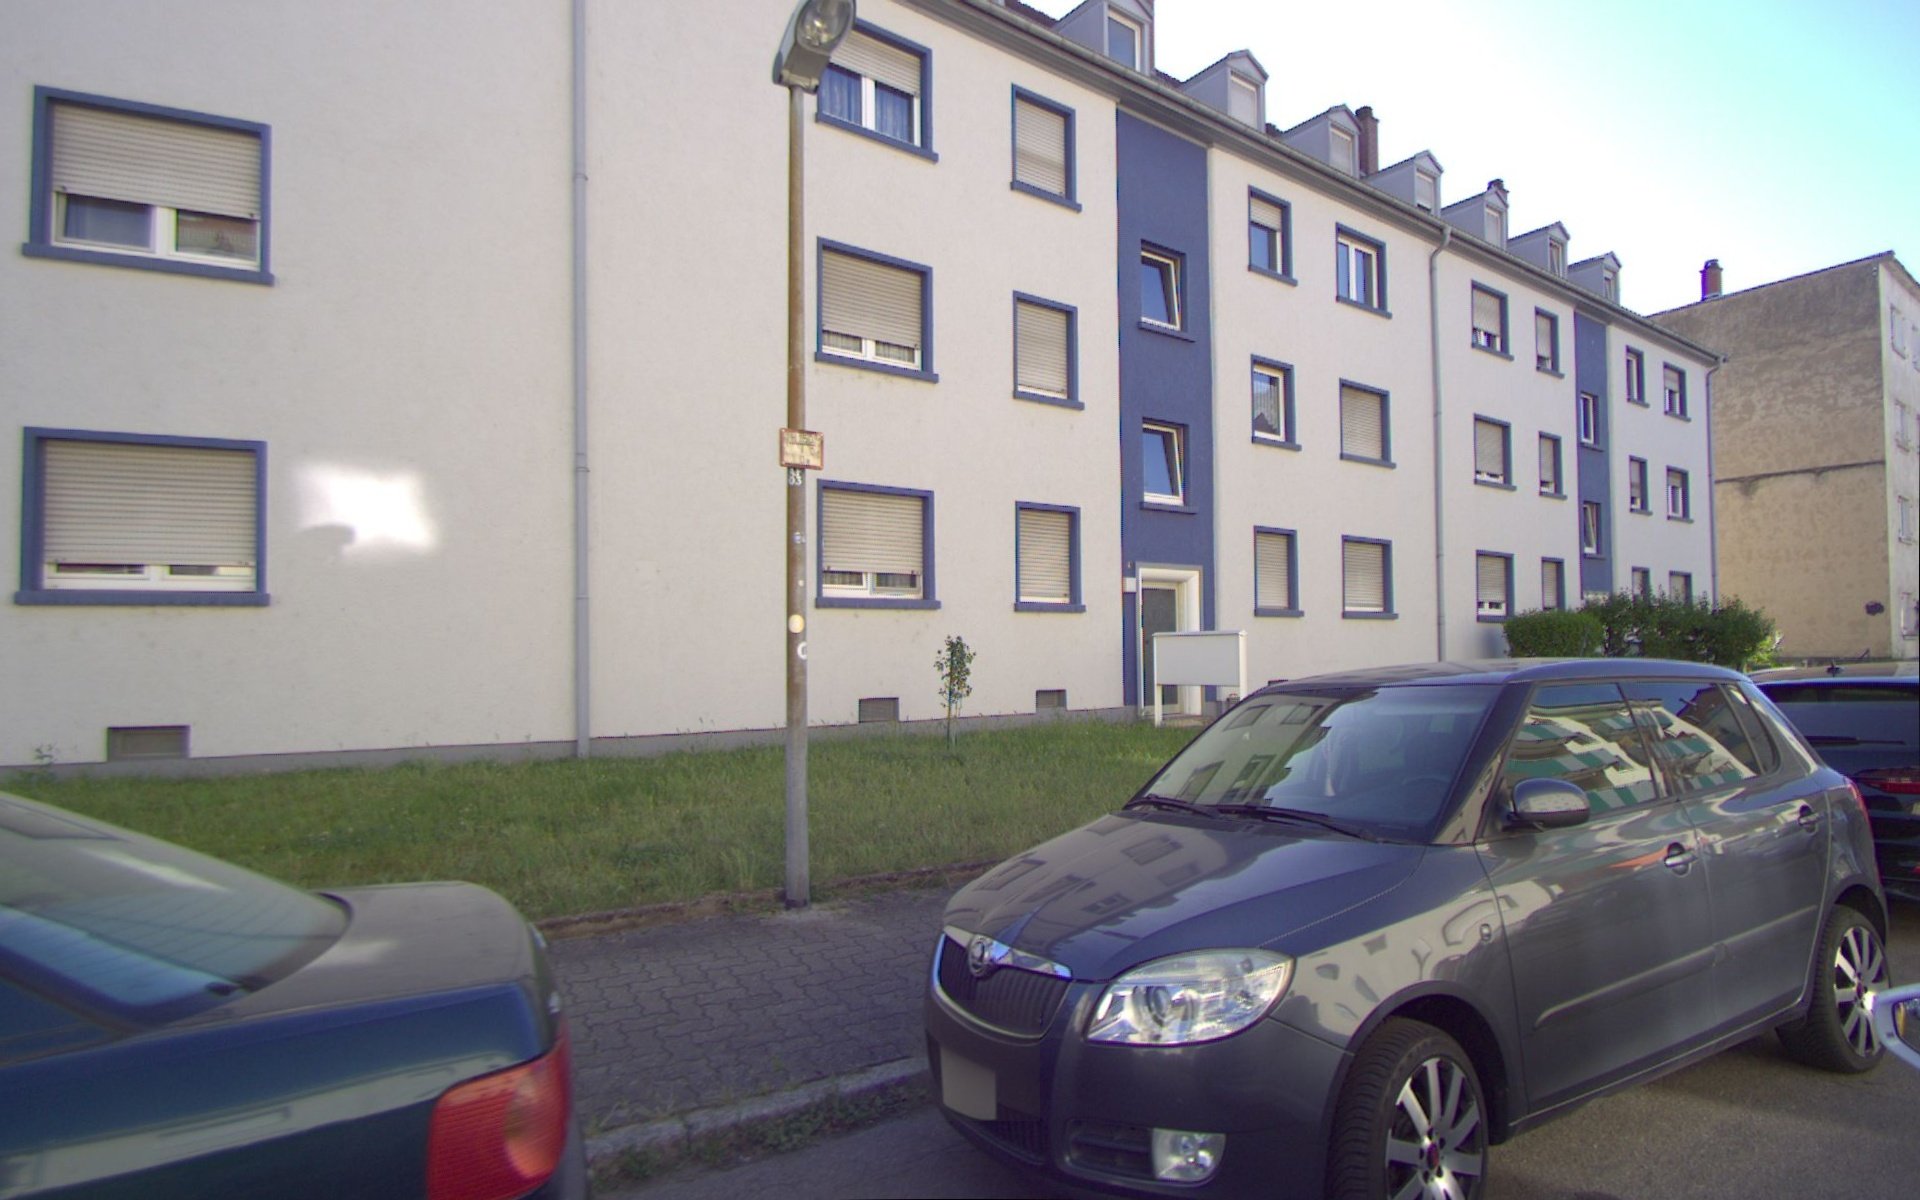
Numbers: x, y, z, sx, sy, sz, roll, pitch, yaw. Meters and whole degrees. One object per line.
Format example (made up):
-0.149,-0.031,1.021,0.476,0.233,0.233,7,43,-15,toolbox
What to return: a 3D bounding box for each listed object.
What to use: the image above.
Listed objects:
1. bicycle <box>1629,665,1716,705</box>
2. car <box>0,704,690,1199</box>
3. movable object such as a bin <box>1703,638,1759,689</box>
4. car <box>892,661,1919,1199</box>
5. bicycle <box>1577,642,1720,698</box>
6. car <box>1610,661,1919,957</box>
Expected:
17.780,2.136,25.100,0.542,0.948,1.637,2,-6,-34,bicycle
-2.583,0.938,1.027,4.214,1.483,1.561,1,-5,-32,car
24.422,2.018,31.806,1.346,1.559,1.059,3,-6,-40,movable object such as a bin
1.707,1.028,3.552,3.588,1.495,1.473,2,-7,-30,car
15.885,1.589,23.243,0.768,1.145,2.643,2,-1,-43,bicycle
6.382,1.140,6.611,4.548,1.449,1.735,2,-6,-33,car
